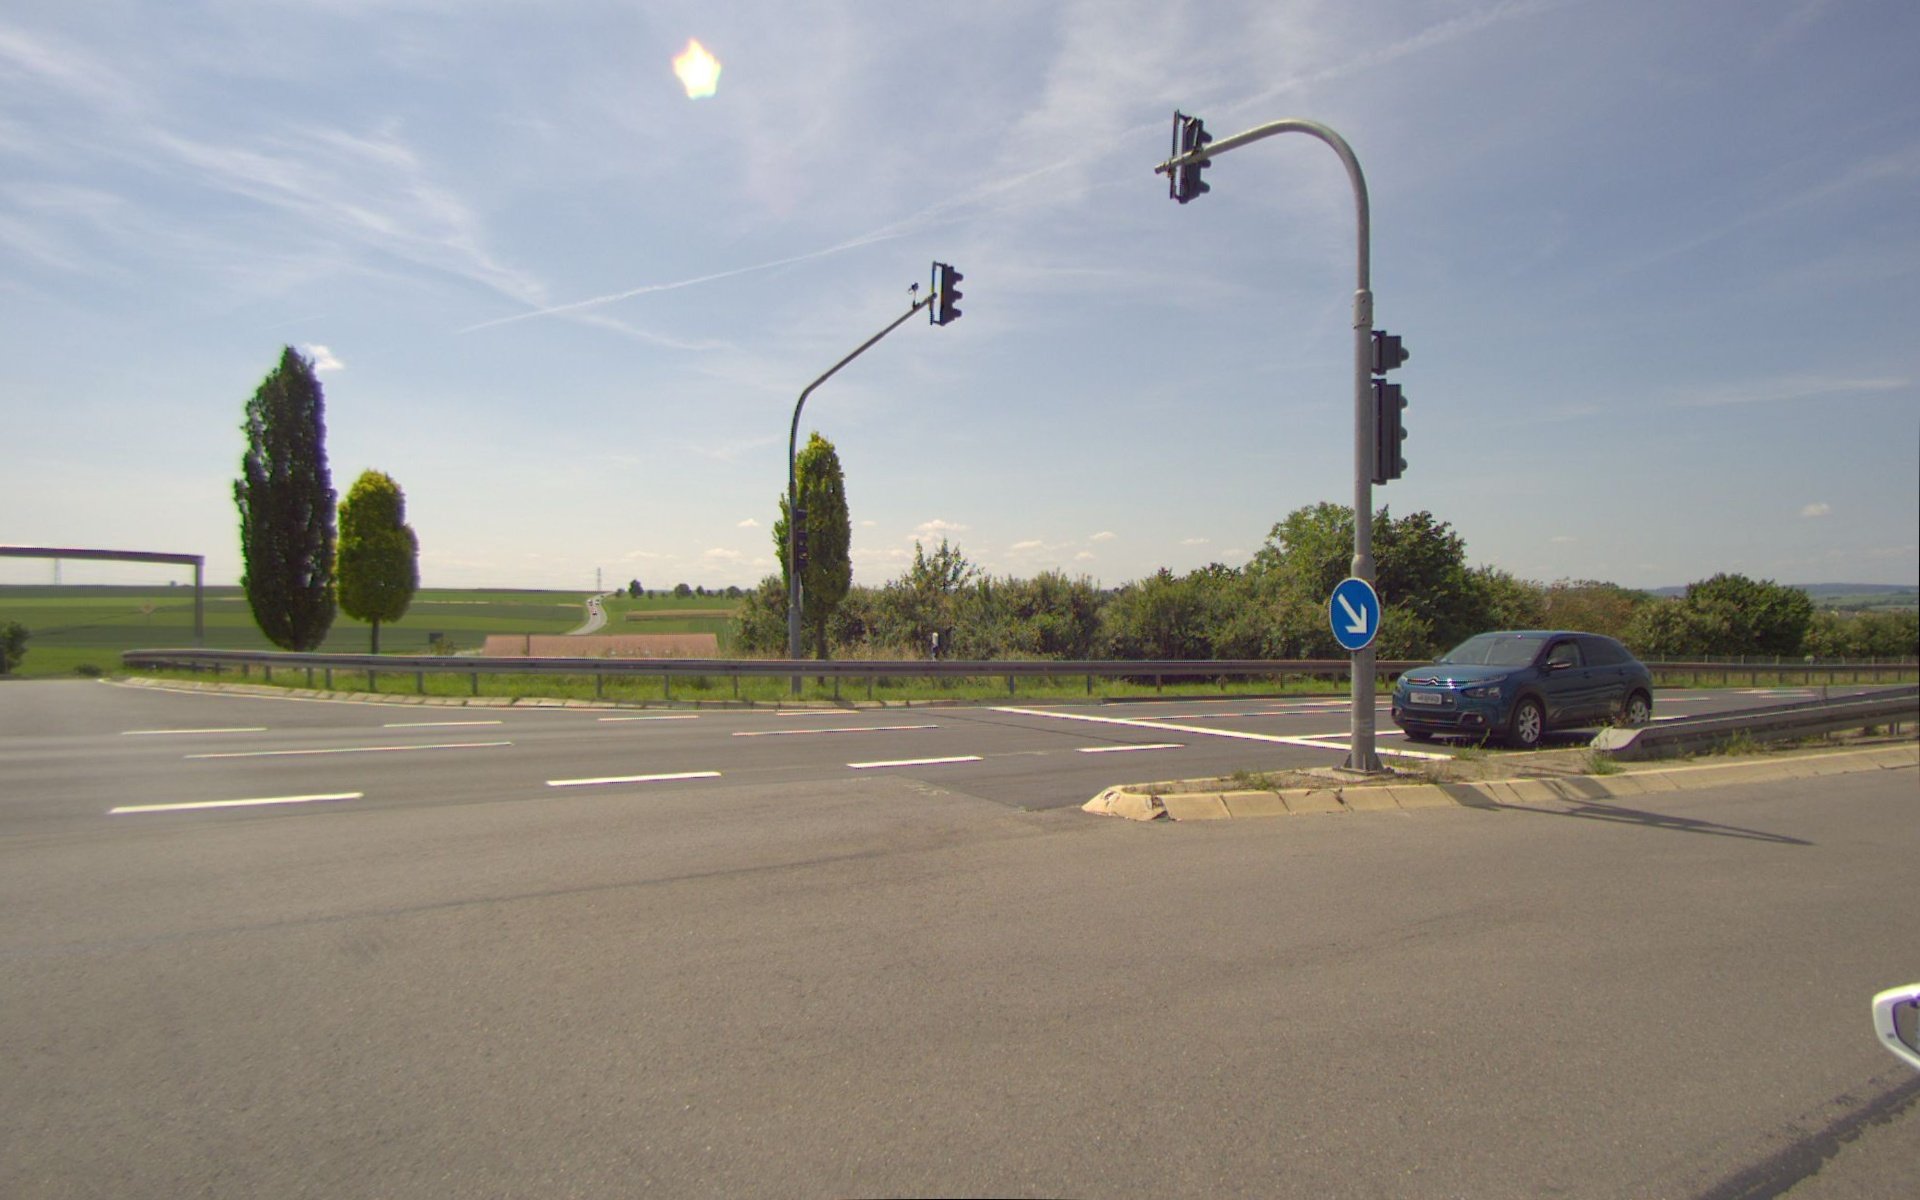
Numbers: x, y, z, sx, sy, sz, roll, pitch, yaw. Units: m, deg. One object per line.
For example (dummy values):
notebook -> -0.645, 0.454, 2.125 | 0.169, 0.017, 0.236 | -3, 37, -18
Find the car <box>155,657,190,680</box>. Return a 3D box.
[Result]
car -> -64.666, 5.618, 82.545 | 1.614, 1.479, 4.457 | 3, 0, -30

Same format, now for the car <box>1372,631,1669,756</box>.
car -> 7.787, 1.201, 13.868 | 4.147, 1.488, 1.747 | 2, -2, -30
